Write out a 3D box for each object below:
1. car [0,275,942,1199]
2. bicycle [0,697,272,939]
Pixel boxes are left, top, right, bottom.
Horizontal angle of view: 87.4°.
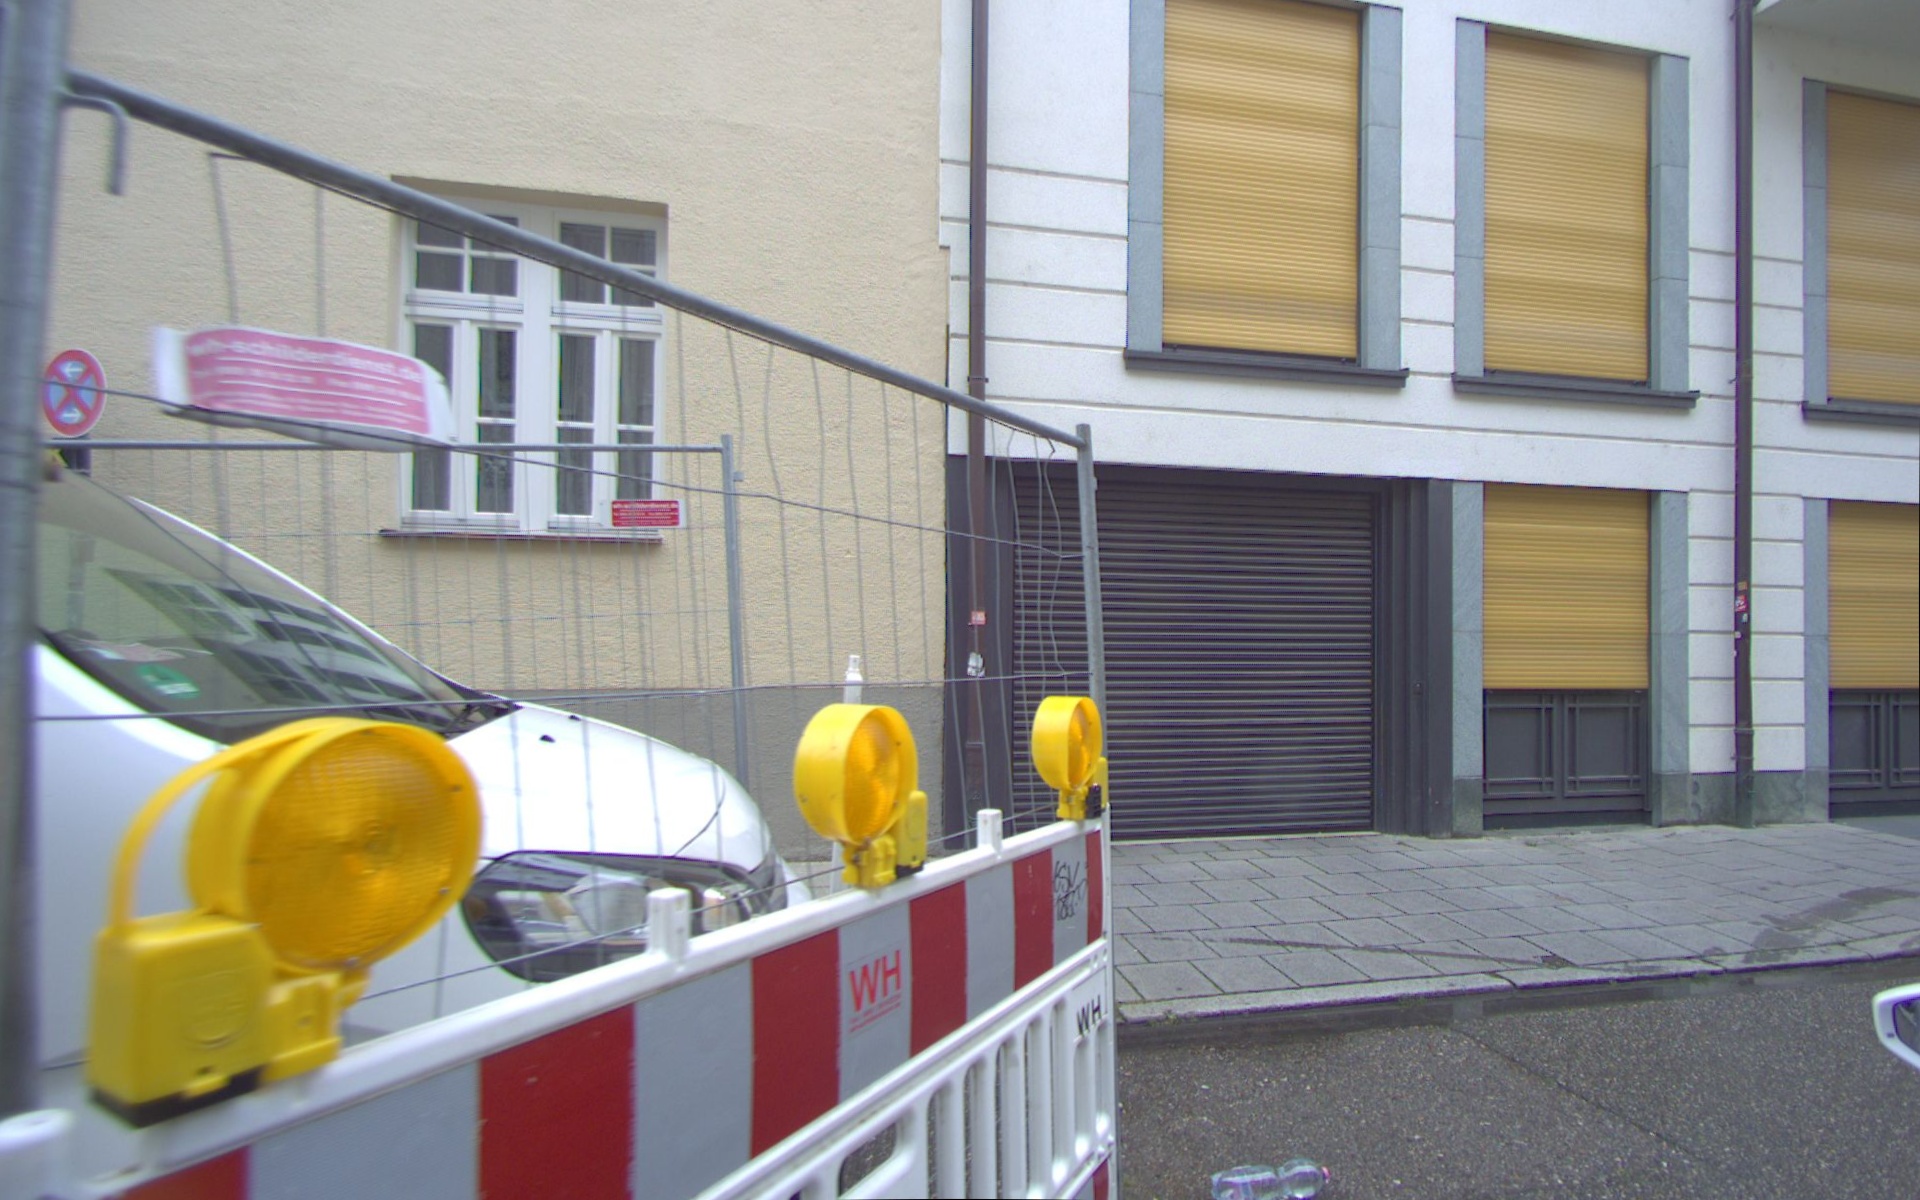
[{"bbox_3d":[-2.689,0.602,1.604,5.005,1.922,1.905,1,-2,-16],"label":"car"},{"bbox_3d":[-4.160,1.017,4.779,1.430,1.065,0.303,1,0,-14],"label":"bicycle"}]
